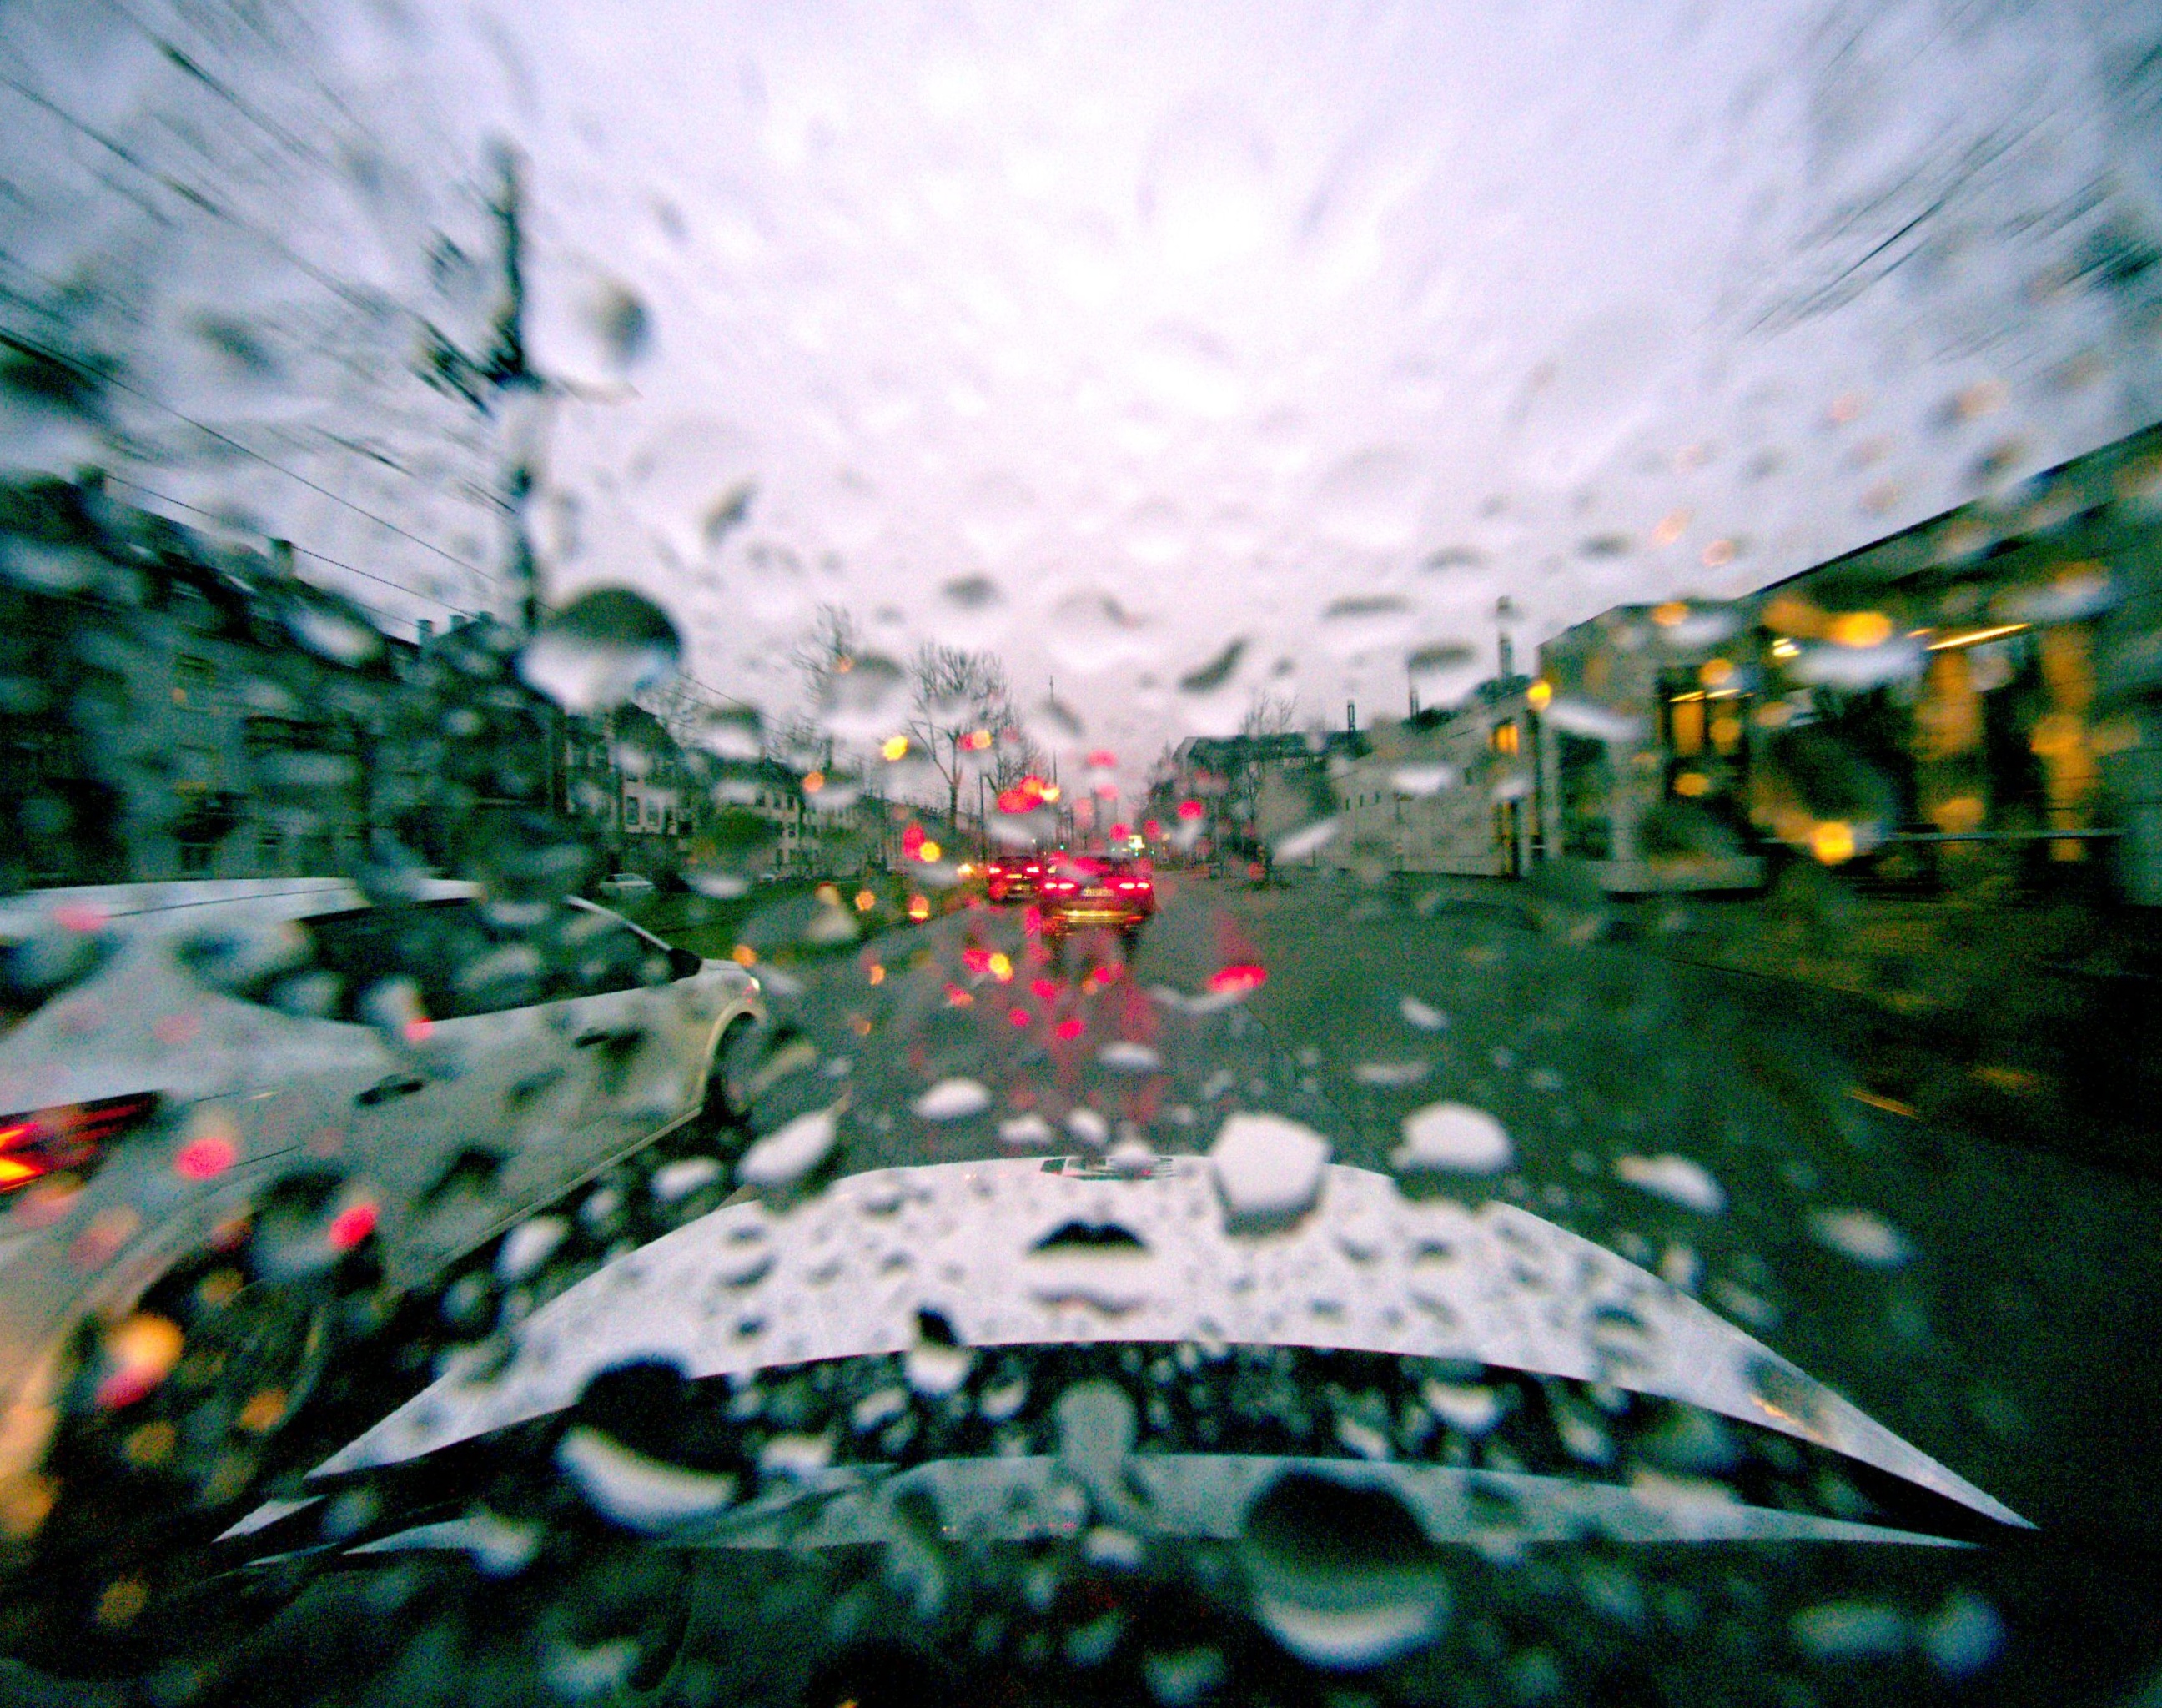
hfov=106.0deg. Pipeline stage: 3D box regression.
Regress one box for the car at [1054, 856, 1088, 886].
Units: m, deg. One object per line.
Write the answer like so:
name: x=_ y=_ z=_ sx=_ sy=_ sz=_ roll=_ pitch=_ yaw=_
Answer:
car: x=-0.542 y=0.928 z=46.100 sx=1.665 sy=1.600 sz=4.056 roll=-1 pitch=0 yaw=3

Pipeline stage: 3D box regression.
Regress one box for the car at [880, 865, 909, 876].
car: x=-24.002 y=2.145 z=104.869 sx=3.510 sy=1.354 sz=1.793 roll=-2 pitch=0 yaw=36

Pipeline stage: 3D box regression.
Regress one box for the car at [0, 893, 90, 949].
car: x=-29.038 y=1.830 z=21.300 sx=1.769 sy=1.354 sz=3.558 roll=-2 pitch=0 yaw=2

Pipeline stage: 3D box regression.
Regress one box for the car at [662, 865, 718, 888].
car: x=-25.632 y=1.504 z=53.393 sx=3.510 sy=1.354 sz=1.793 roll=-2 pitch=0 yaw=36

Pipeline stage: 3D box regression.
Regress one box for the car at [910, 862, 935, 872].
car: x=-24.123 y=1.914 z=123.899 sx=3.510 sy=1.354 sz=1.793 roll=-2 pitch=0 yaw=36

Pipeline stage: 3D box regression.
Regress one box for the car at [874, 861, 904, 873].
car: x=-24.188 y=1.657 z=102.328 sx=3.510 sy=1.354 sz=1.745 roll=-2 pitch=0 yaw=36

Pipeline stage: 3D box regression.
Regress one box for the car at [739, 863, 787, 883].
car: x=-24.593 y=1.459 z=62.973 sx=3.510 sy=1.354 sz=1.793 roll=-2 pitch=0 yaw=36

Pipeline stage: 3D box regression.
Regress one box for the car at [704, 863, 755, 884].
car: x=-25.598 y=1.420 z=59.270 sx=3.510 sy=1.354 sz=1.793 roll=-2 pitch=0 yaw=36

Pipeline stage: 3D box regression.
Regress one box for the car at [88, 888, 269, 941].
car: x=-28.869 y=1.901 z=26.224 sx=1.769 sy=1.354 sz=3.558 roll=-2 pitch=0 yaw=2

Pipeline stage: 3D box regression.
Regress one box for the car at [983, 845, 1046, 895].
car: x=-2.285 y=0.543 z=28.778 sx=1.665 sy=1.600 sz=4.056 roll=-1 pitch=0 yaw=3

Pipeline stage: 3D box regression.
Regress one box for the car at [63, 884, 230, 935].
car: x=-33.228 y=1.935 z=29.109 sx=1.769 sy=1.500 sz=3.558 roll=-2 pitch=0 yaw=2

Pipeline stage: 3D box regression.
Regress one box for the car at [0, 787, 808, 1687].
car: x=-2.687 y=0.702 z=3.239 sx=1.665 sy=1.600 sz=4.056 roll=-1 pitch=0 yaw=2

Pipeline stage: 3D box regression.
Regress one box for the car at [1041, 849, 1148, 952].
car: x=0.320 y=0.742 z=14.896 sx=1.665 sy=1.600 sz=4.056 roll=-1 pitch=0 yaw=3

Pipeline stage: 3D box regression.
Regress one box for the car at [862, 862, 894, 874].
car: x=-24.433 y=1.685 z=97.970 sx=3.510 sy=1.354 sz=1.793 roll=-2 pitch=0 yaw=36

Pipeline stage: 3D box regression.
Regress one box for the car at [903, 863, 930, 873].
car: x=-23.713 y=1.988 z=117.402 sx=3.510 sy=1.354 sz=1.793 roll=-2 pitch=0 yaw=36

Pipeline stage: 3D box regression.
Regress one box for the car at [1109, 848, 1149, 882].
car: x=2.607 y=0.580 z=44.341 sx=1.985 sy=1.744 sz=4.003 roll=-2 pitch=0 yaw=3

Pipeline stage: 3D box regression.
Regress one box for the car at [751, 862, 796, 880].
car: x=-25.320 y=1.432 z=67.045 sx=3.510 sy=1.354 sz=1.793 roll=-2 pitch=0 yaw=36
